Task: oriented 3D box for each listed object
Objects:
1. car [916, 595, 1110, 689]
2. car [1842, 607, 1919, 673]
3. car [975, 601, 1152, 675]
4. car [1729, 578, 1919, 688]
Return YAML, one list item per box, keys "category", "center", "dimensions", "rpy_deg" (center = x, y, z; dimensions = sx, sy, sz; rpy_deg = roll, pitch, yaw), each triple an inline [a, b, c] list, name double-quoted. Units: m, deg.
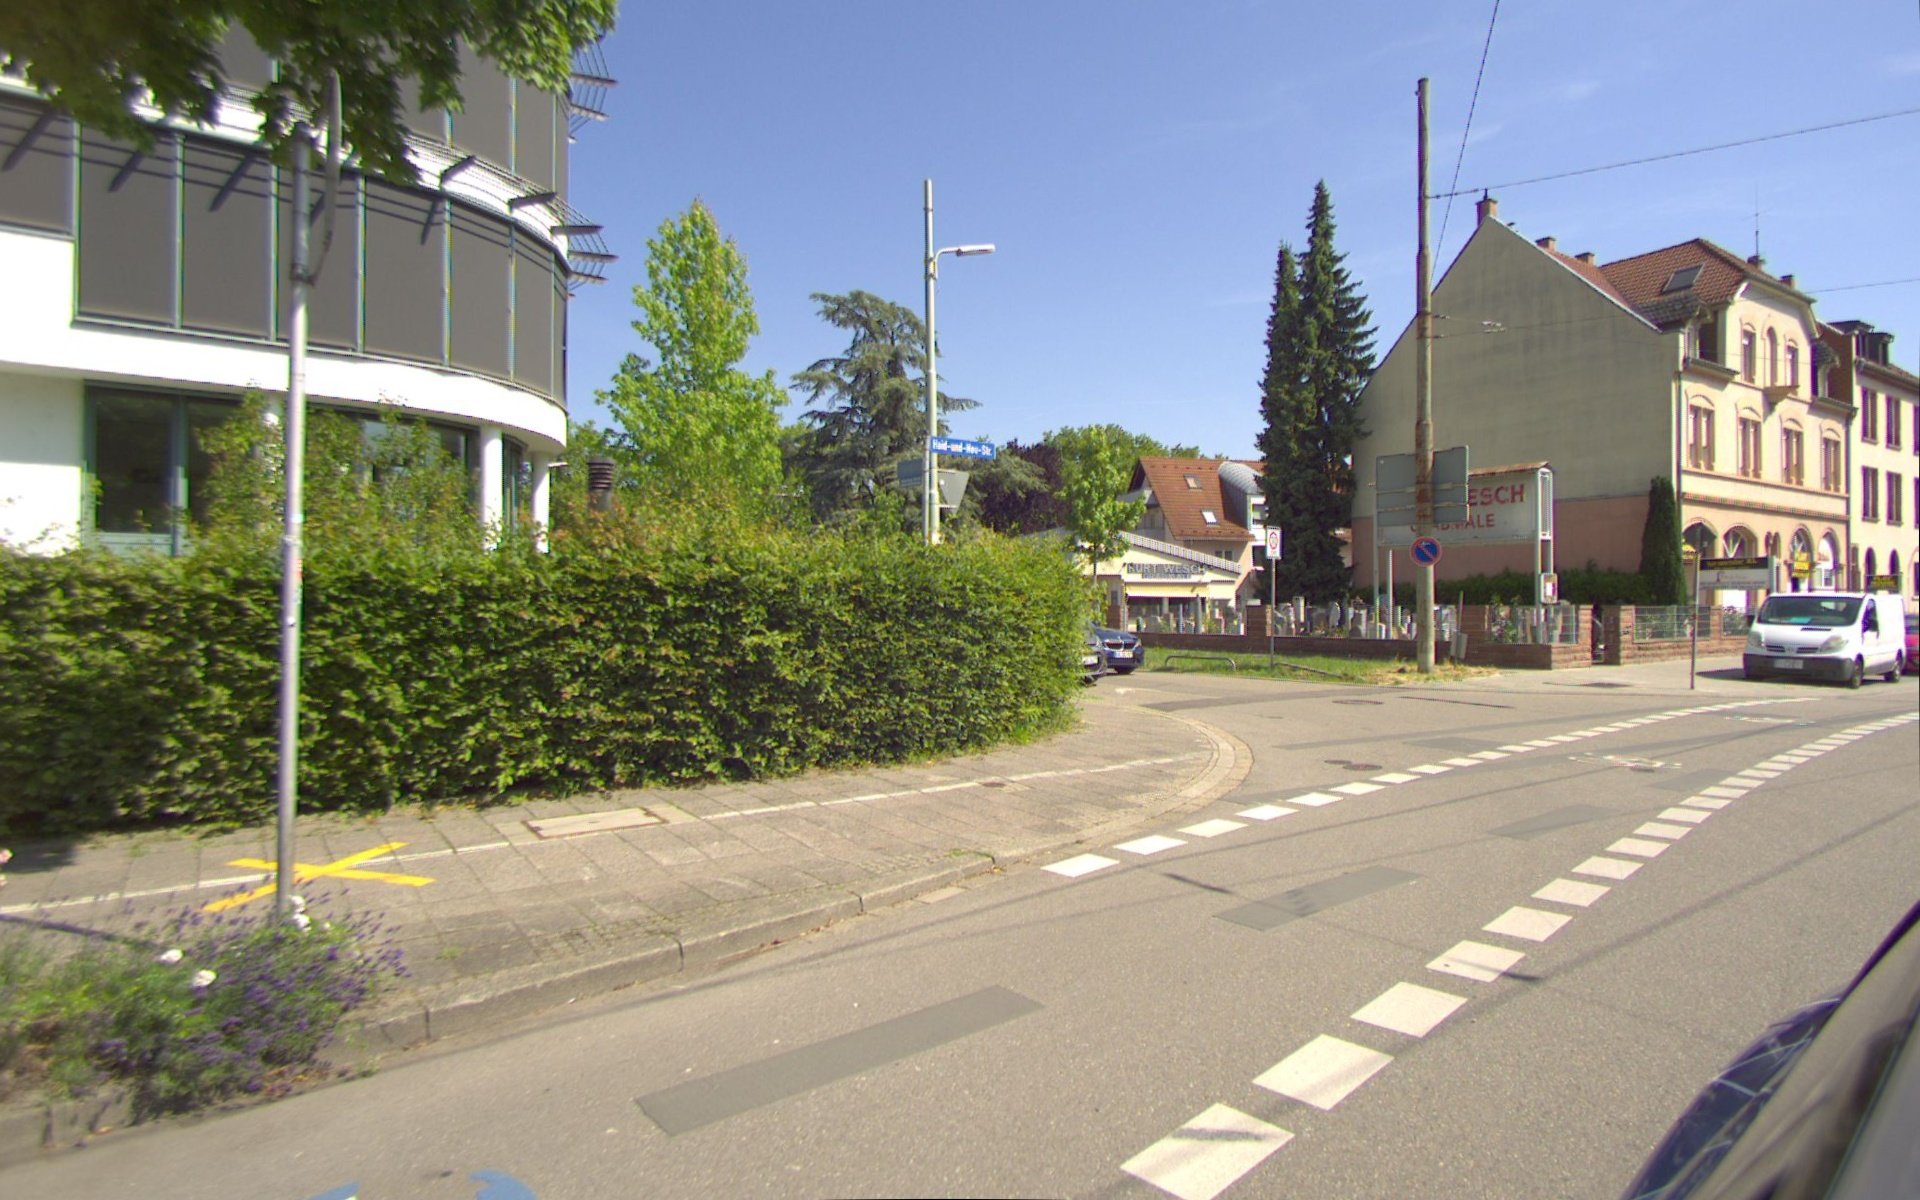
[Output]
- category: "car"
  center: [0.835, 0.678, 17.954]
  dimensions: [1.562, 1.492, 3.604]
  rpy_deg: [0, -1, -35]
- category: "car"
  center: [23.640, 0.932, 25.089]
  dimensions: [4.231, 1.461, 1.727]
  rpy_deg: [0, 1, -36]
- category: "car"
  center: [2.073, 0.742, 21.224]
  dimensions: [1.639, 1.406, 3.757]
  rpy_deg: [0, -1, -35]
- category: "car"
  center: [18.555, 0.617, 21.551]
  dimensions: [5.092, 2.080, 1.983]
  rpy_deg: [0, 1, -35]
